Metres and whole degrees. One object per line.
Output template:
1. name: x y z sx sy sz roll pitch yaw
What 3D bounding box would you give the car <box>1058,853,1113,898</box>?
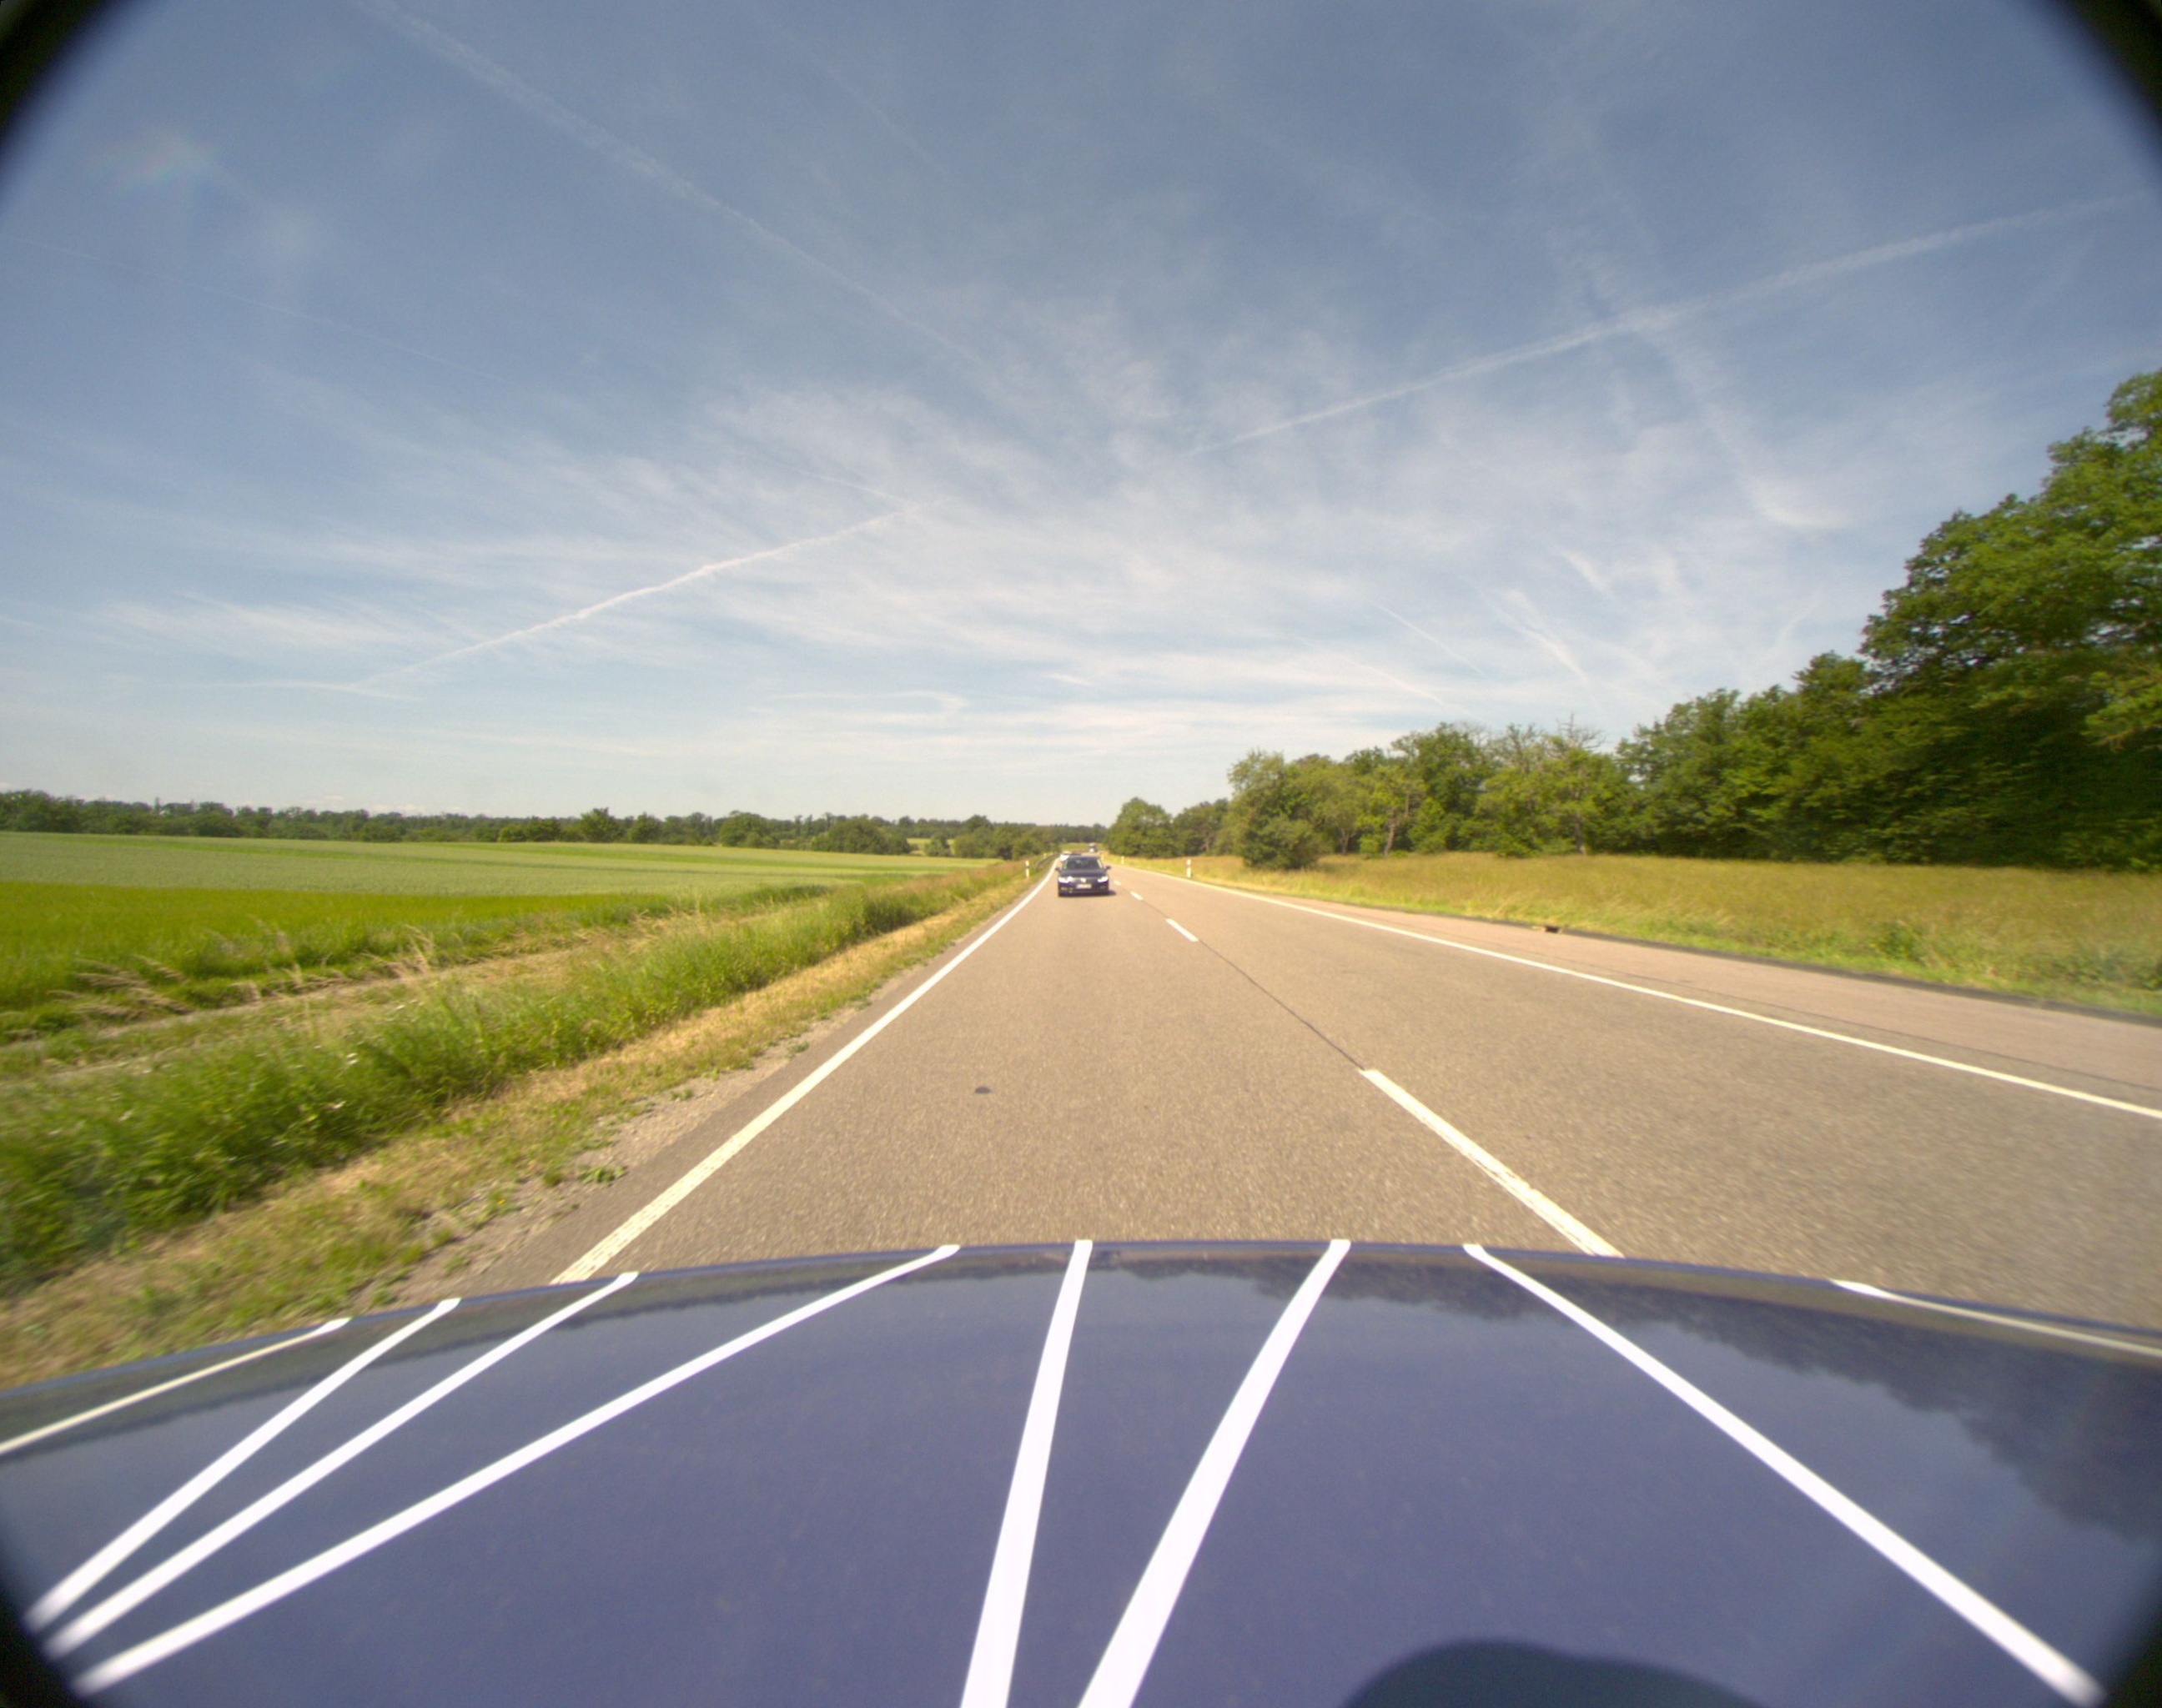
1. car: 0.098 0.748 28.540 1.822 1.501 4.499 -2 0 -2

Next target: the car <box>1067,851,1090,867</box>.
1. car: -0.256 0.461 72.588 1.929 1.501 4.290 -1 0 -4

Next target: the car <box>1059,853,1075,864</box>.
1. car: -1.886 0.567 103.144 1.929 1.501 4.290 1 0 -3
